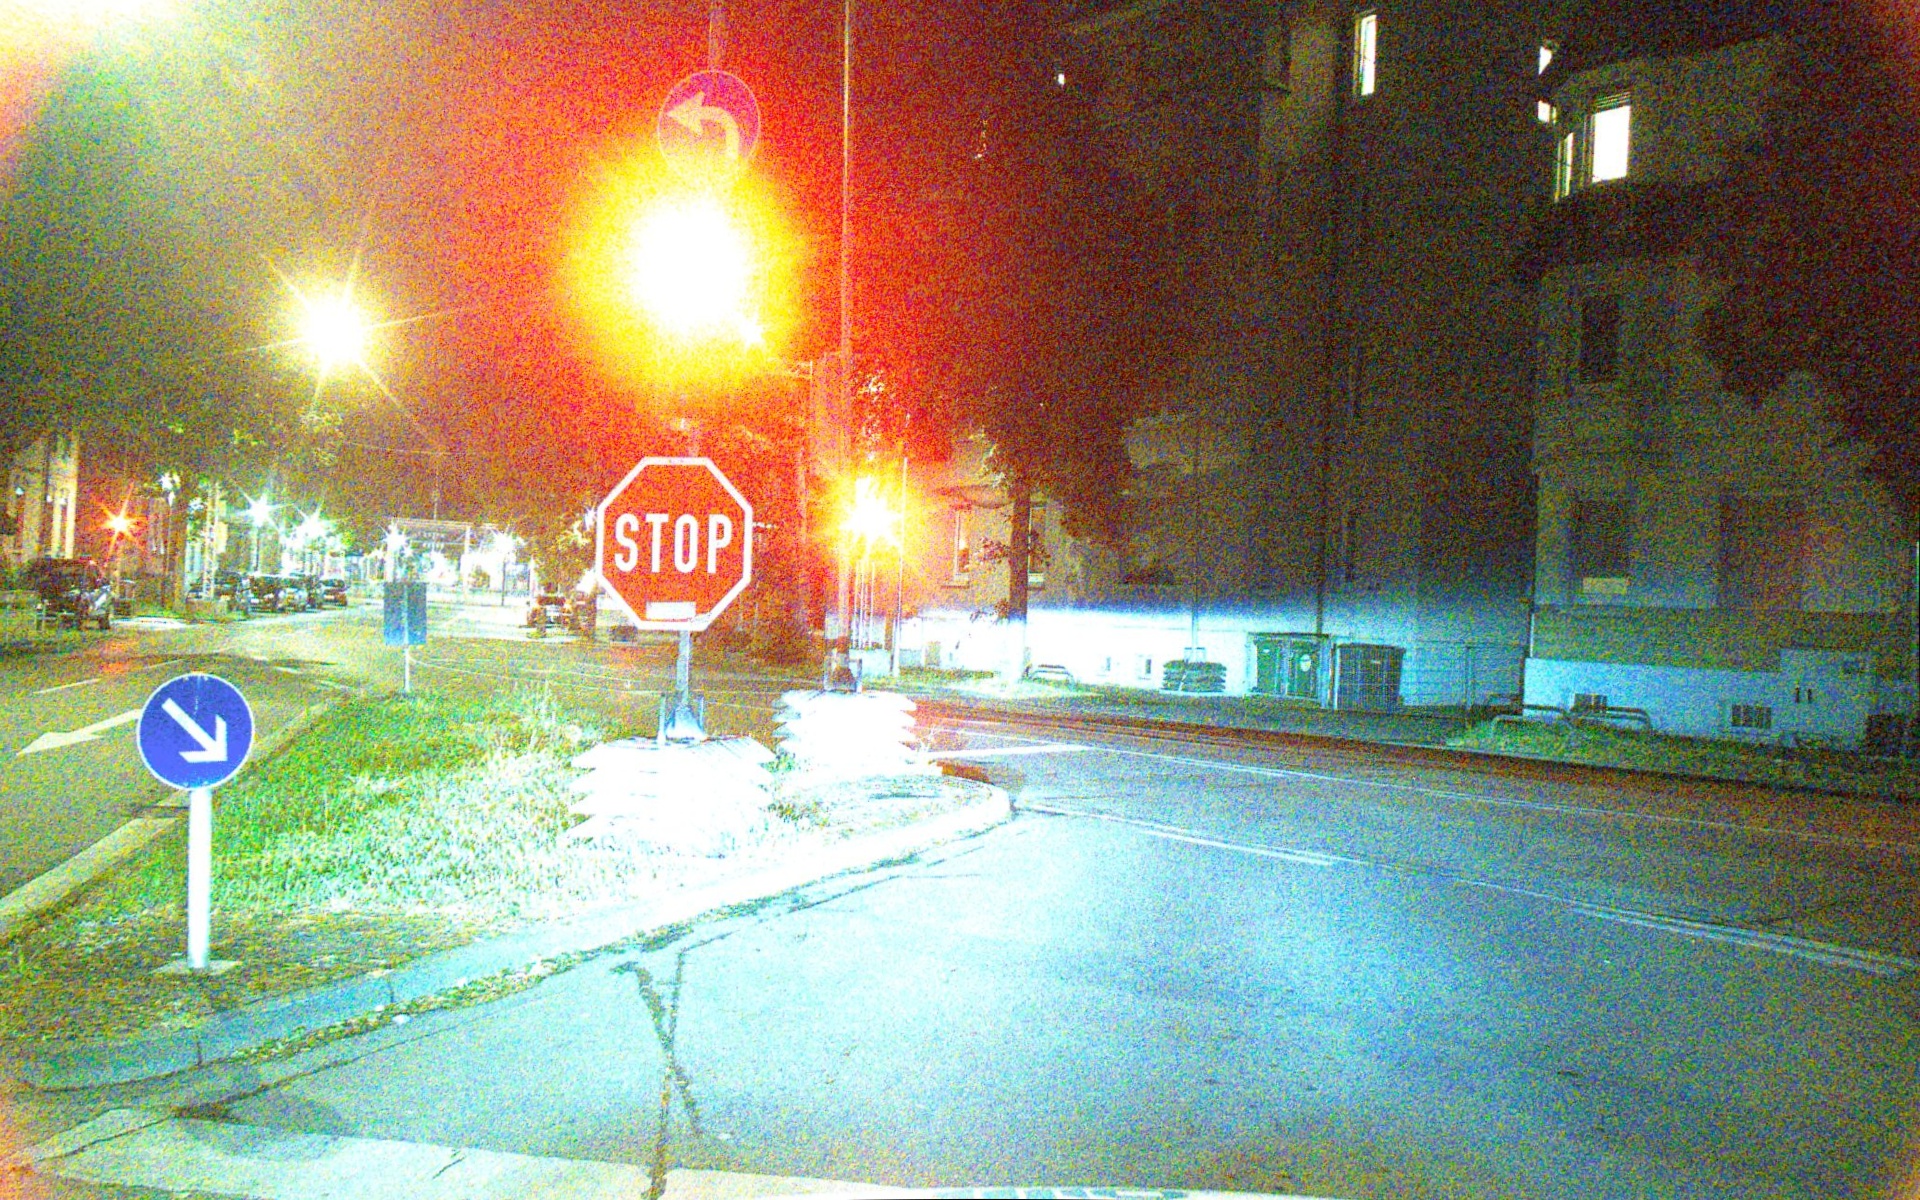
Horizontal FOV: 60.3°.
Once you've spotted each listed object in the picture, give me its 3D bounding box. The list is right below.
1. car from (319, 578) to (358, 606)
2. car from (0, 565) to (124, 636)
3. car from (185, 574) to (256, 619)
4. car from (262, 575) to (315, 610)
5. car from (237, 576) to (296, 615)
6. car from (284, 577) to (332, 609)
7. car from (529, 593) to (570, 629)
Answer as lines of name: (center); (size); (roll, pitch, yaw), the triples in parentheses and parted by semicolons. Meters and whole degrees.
car: (-34.447, -0.451, 91.736); (1.624, 1.456, 3.983); (2, 0, -15)
car: (-20.270, 0.007, 37.418); (1.624, 1.456, 3.983); (2, 0, -15)
car: (-25.889, -0.131, 58.020); (1.624, 1.456, 3.983); (2, 0, -15)
car: (-29.203, -0.330, 71.979); (1.624, 1.456, 3.983); (2, 0, -15)
car: (-27.673, -0.195, 66.088); (1.624, 1.456, 3.983); (2, 0, -15)
car: (-30.916, -0.328, 78.519); (1.624, 1.456, 3.983); (2, 0, -15)
car: (-17.788, 0.448, 71.615); (1.623, 1.456, 3.985); (2, 0, -14)
